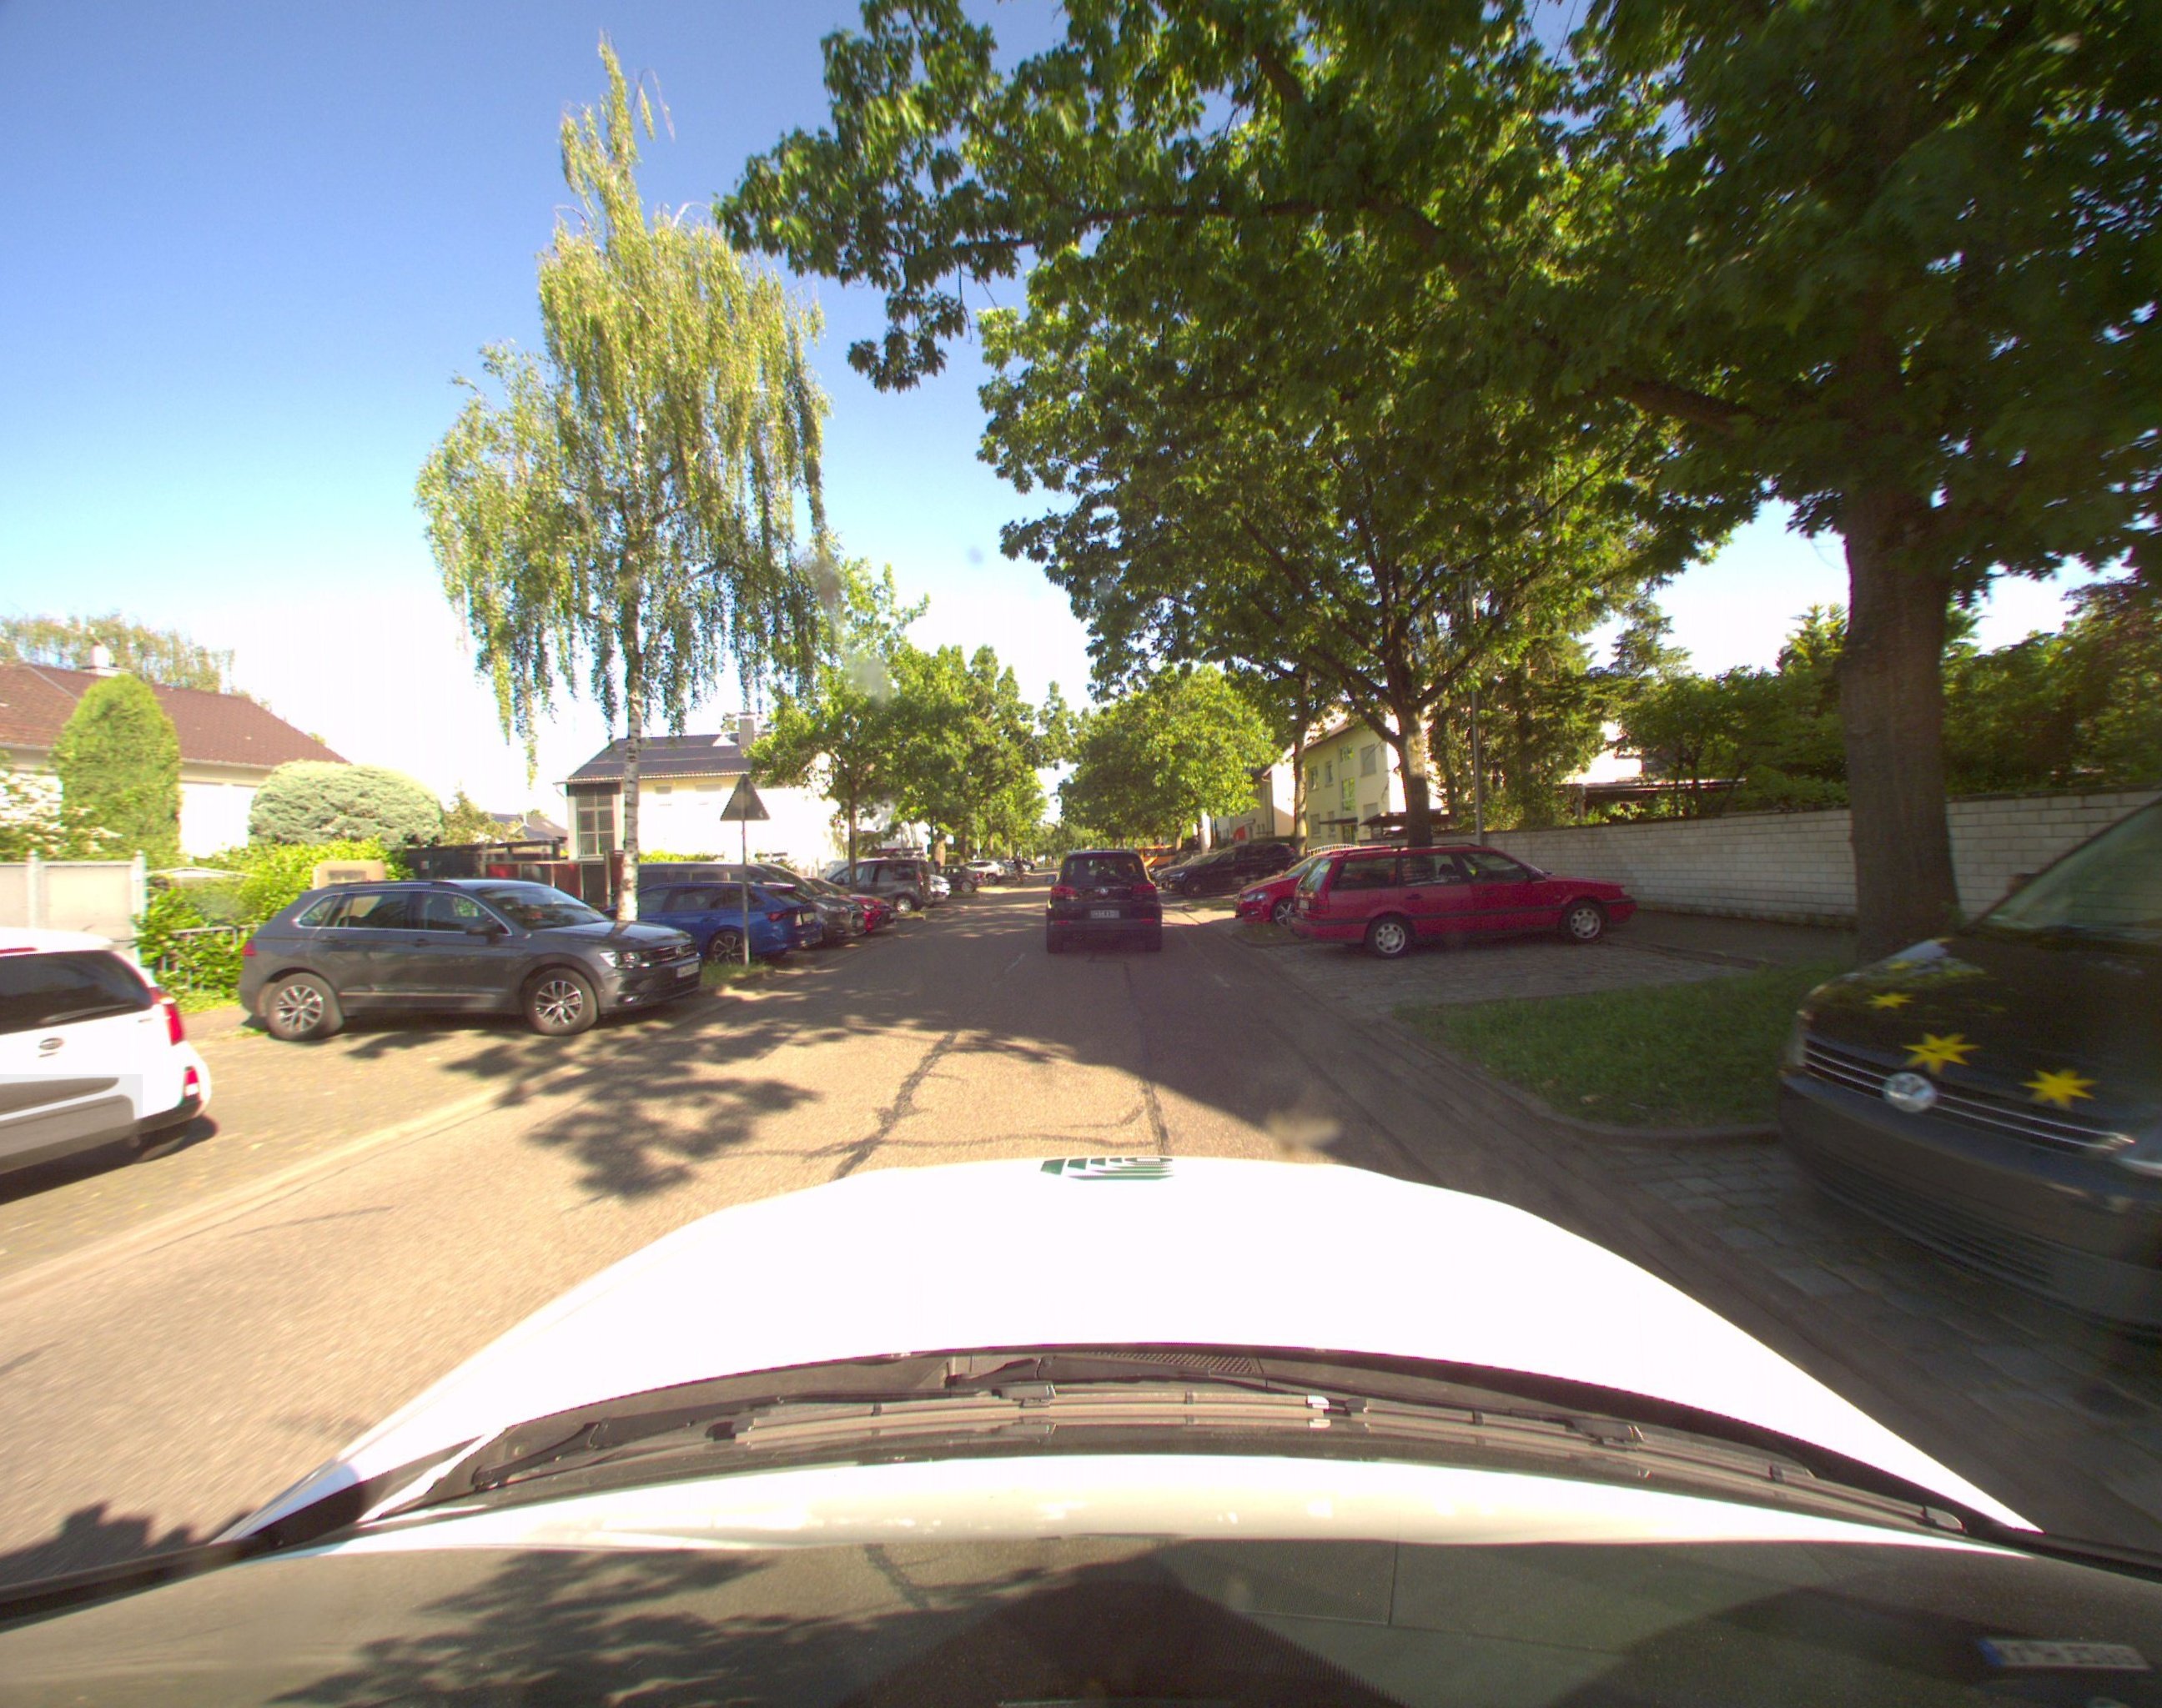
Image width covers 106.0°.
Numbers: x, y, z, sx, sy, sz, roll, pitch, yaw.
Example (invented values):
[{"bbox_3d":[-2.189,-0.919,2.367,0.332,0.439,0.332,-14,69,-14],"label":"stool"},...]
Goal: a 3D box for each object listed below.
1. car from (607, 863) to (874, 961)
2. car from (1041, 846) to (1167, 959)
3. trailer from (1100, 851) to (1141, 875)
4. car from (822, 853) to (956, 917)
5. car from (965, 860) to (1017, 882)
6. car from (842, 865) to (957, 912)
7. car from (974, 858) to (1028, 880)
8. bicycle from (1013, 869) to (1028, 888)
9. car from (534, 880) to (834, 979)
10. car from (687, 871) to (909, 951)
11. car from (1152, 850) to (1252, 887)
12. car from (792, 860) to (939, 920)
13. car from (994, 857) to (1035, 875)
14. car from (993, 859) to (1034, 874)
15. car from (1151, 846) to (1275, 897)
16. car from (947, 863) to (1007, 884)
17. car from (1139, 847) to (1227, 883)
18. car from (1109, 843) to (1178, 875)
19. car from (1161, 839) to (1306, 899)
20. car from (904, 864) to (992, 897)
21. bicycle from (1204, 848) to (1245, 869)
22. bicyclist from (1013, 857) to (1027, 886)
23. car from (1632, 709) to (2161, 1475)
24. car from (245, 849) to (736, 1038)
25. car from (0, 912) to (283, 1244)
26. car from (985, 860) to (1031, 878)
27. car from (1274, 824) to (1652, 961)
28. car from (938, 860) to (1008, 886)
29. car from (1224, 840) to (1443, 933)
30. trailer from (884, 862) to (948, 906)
[{"bbox_3d":[-6.854,1.137,16.758,4.659,1.768,1.794,-1,0,-1],"label":"car"},{"bbox_3d":[0.384,0.732,14.104,1.831,1.636,3.958,-2,0,1],"label":"car"},{"bbox_3d":[3.062,0.679,63.930,2.943,1.664,1.611,-3,0,-7],"label":"trailer"},{"bbox_3d":[-6.748,1.071,29.038,4.227,1.944,1.998,-3,0,-3],"label":"car"},{"bbox_3d":[-7.382,1.421,67.109,3.976,1.595,1.856,-3,-1,-2],"label":"car"},{"bbox_3d":[-6.954,1.316,31.480,3.976,1.516,1.690,-3,0,-1],"label":"car"},{"bbox_3d":[-6.977,1.323,71.642,4.511,1.631,1.936,-3,0,-2],"label":"car"},{"bbox_3d":[-3.590,1.436,48.447,0.594,1.058,1.986,-5,0,1],"label":"bicycle"},{"bbox_3d":[-6.648,1.244,13.939,4.255,1.424,1.724,-2,0,2],"label":"car"},{"bbox_3d":[-6.493,1.286,19.066,4.465,1.500,1.835,-3,0,-2],"label":"car"},{"bbox_3d":[5.640,0.661,38.331,4.412,1.331,1.691,-5,0,1],"label":"car"},{"bbox_3d":[-6.909,1.133,26.477,4.229,1.770,1.965,-1,0,-3],"label":"car"},{"bbox_3d":[-7.998,1.411,98.444,4.770,1.917,2.016,-3,0,-4],"label":"car"},{"bbox_3d":[-7.247,1.367,88.181,4.264,1.478,1.767,-2,0,-2],"label":"car"},{"bbox_3d":[4.942,0.629,30.906,4.308,1.529,1.840,-5,0,-2],"label":"car"},{"bbox_3d":[-7.253,1.360,57.342,4.024,1.423,1.808,-1,0,-3],"label":"car"},{"bbox_3d":[5.417,0.569,43.569,4.326,1.560,1.866,-4,0,-2],"label":"car"},{"bbox_3d":[4.535,0.361,59.520,4.805,2.083,2.085,-3,0,-1],"label":"car"},{"bbox_3d":[5.163,0.509,28.015,4.560,1.646,1.837,-5,0,-1],"label":"car"},{"bbox_3d":[-6.739,1.327,41.575,4.198,1.471,1.690,-2,0,-2],"label":"car"},{"bbox_3d":[10.390,0.329,58.977,2.850,1.237,0.468,-5,-1,-1],"label":"bicycle"},{"bbox_3d":[-3.630,1.034,48.365,0.594,1.674,0.975,-5,0,1],"label":"bicyclist"},{"bbox_3d":[4.557,0.371,2.649,4.198,1.781,1.789,-5,0,0],"label":"car"},{"bbox_3d":[-6.416,0.919,9.186,4.194,1.724,1.761,-3,0,2],"label":"car"},{"bbox_3d":[-7.245,1.247,4.438,3.986,1.515,1.796,-3,0,2],"label":"car"},{"bbox_3d":[-7.006,1.442,78.170,4.171,1.492,1.646,-3,0,-2],"label":"car"},{"bbox_3d":[5.263,0.522,11.701,4.487,1.446,1.838,-5,-1,1],"label":"car"},{"bbox_3d":[-6.875,1.197,51.962,4.173,1.567,1.792,-1,0,0],"label":"car"},{"bbox_3d":[4.935,0.629,16.312,3.764,1.484,1.756,-4,-2,1],"label":"car"},{"bbox_3d":[-6.916,1.242,34.217,2.226,1.673,1.476,-3,0,3],"label":"trailer"}]
